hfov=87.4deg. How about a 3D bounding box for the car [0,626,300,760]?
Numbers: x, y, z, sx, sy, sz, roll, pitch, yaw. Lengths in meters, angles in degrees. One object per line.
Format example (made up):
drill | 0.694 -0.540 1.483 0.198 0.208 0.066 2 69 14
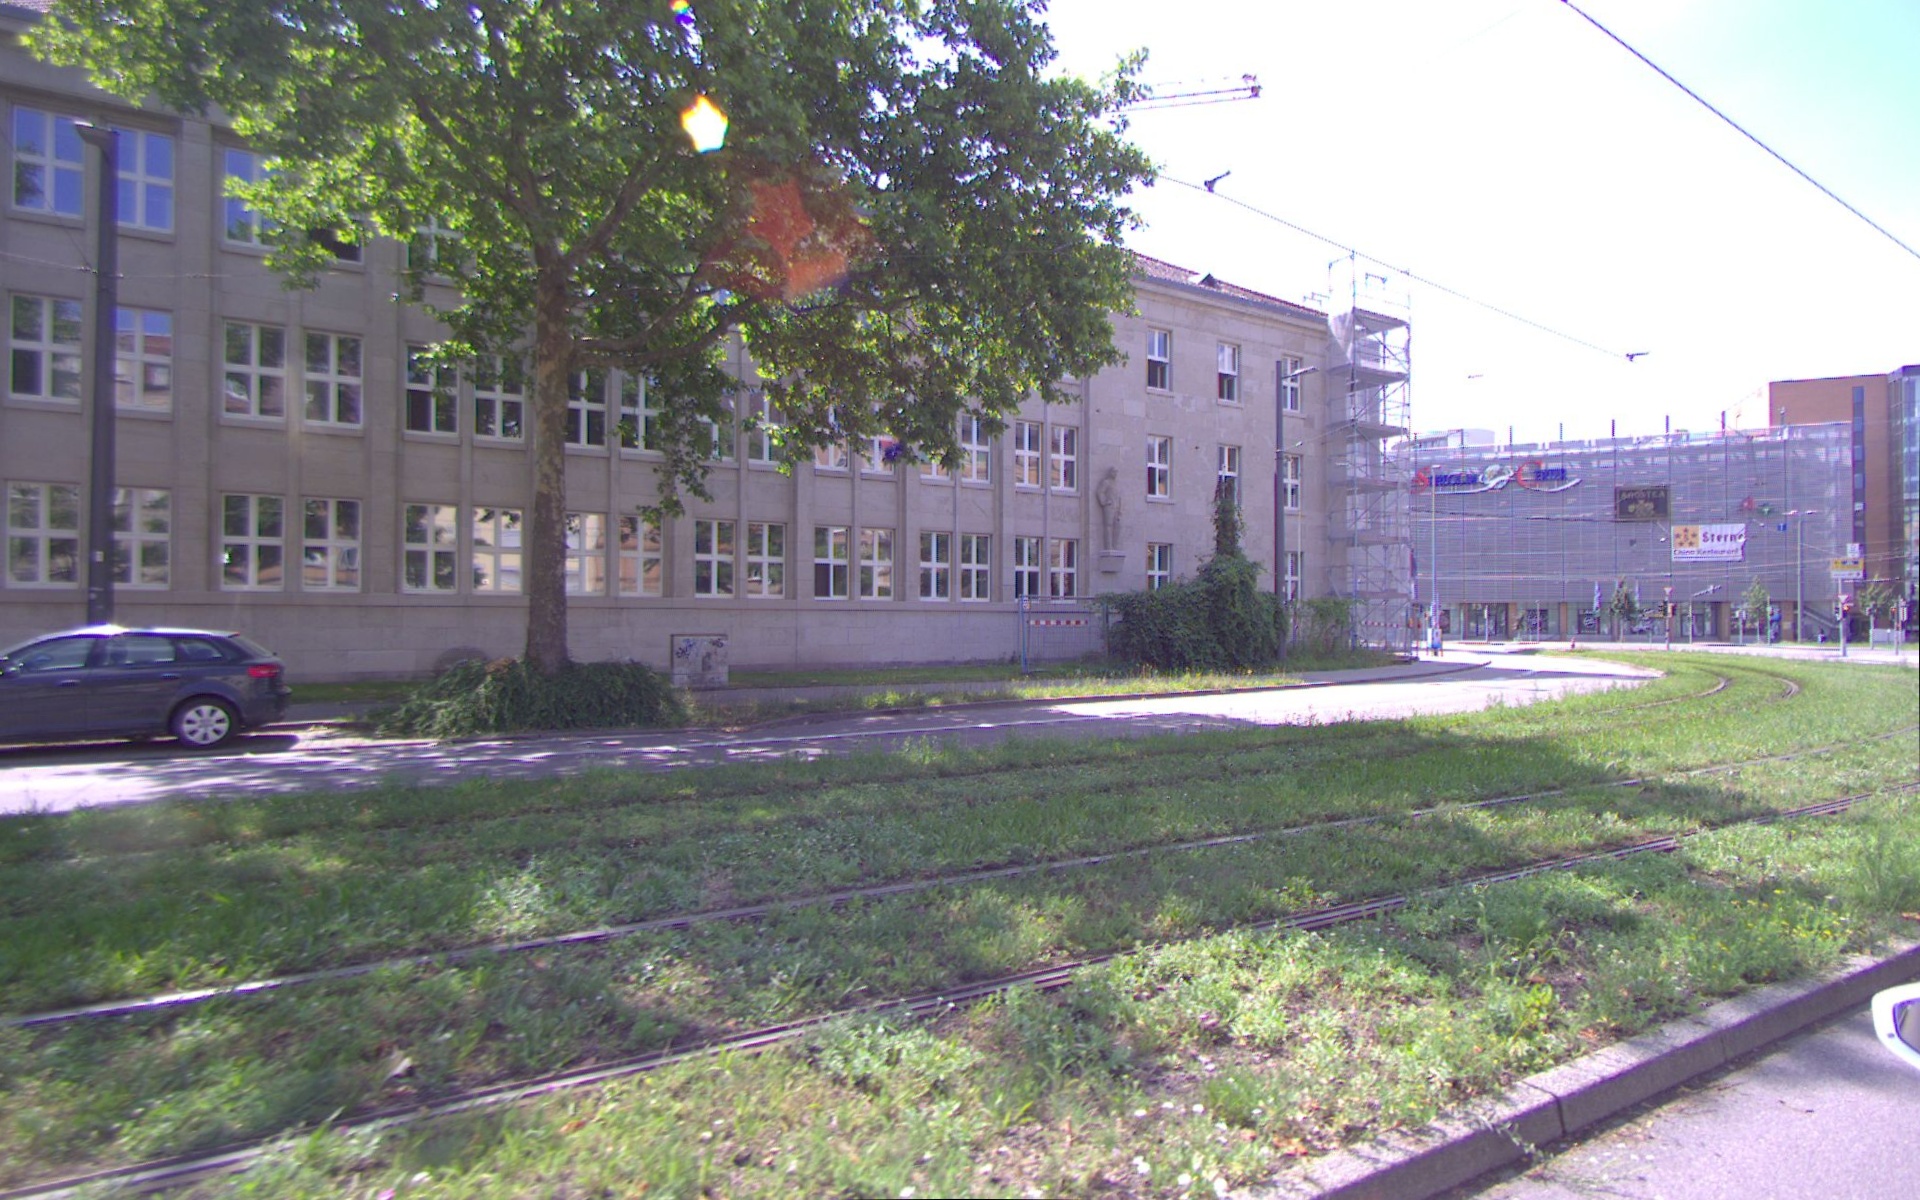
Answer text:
car | -10.448 1.034 11.965 4.271 1.387 1.915 1 0 -33
